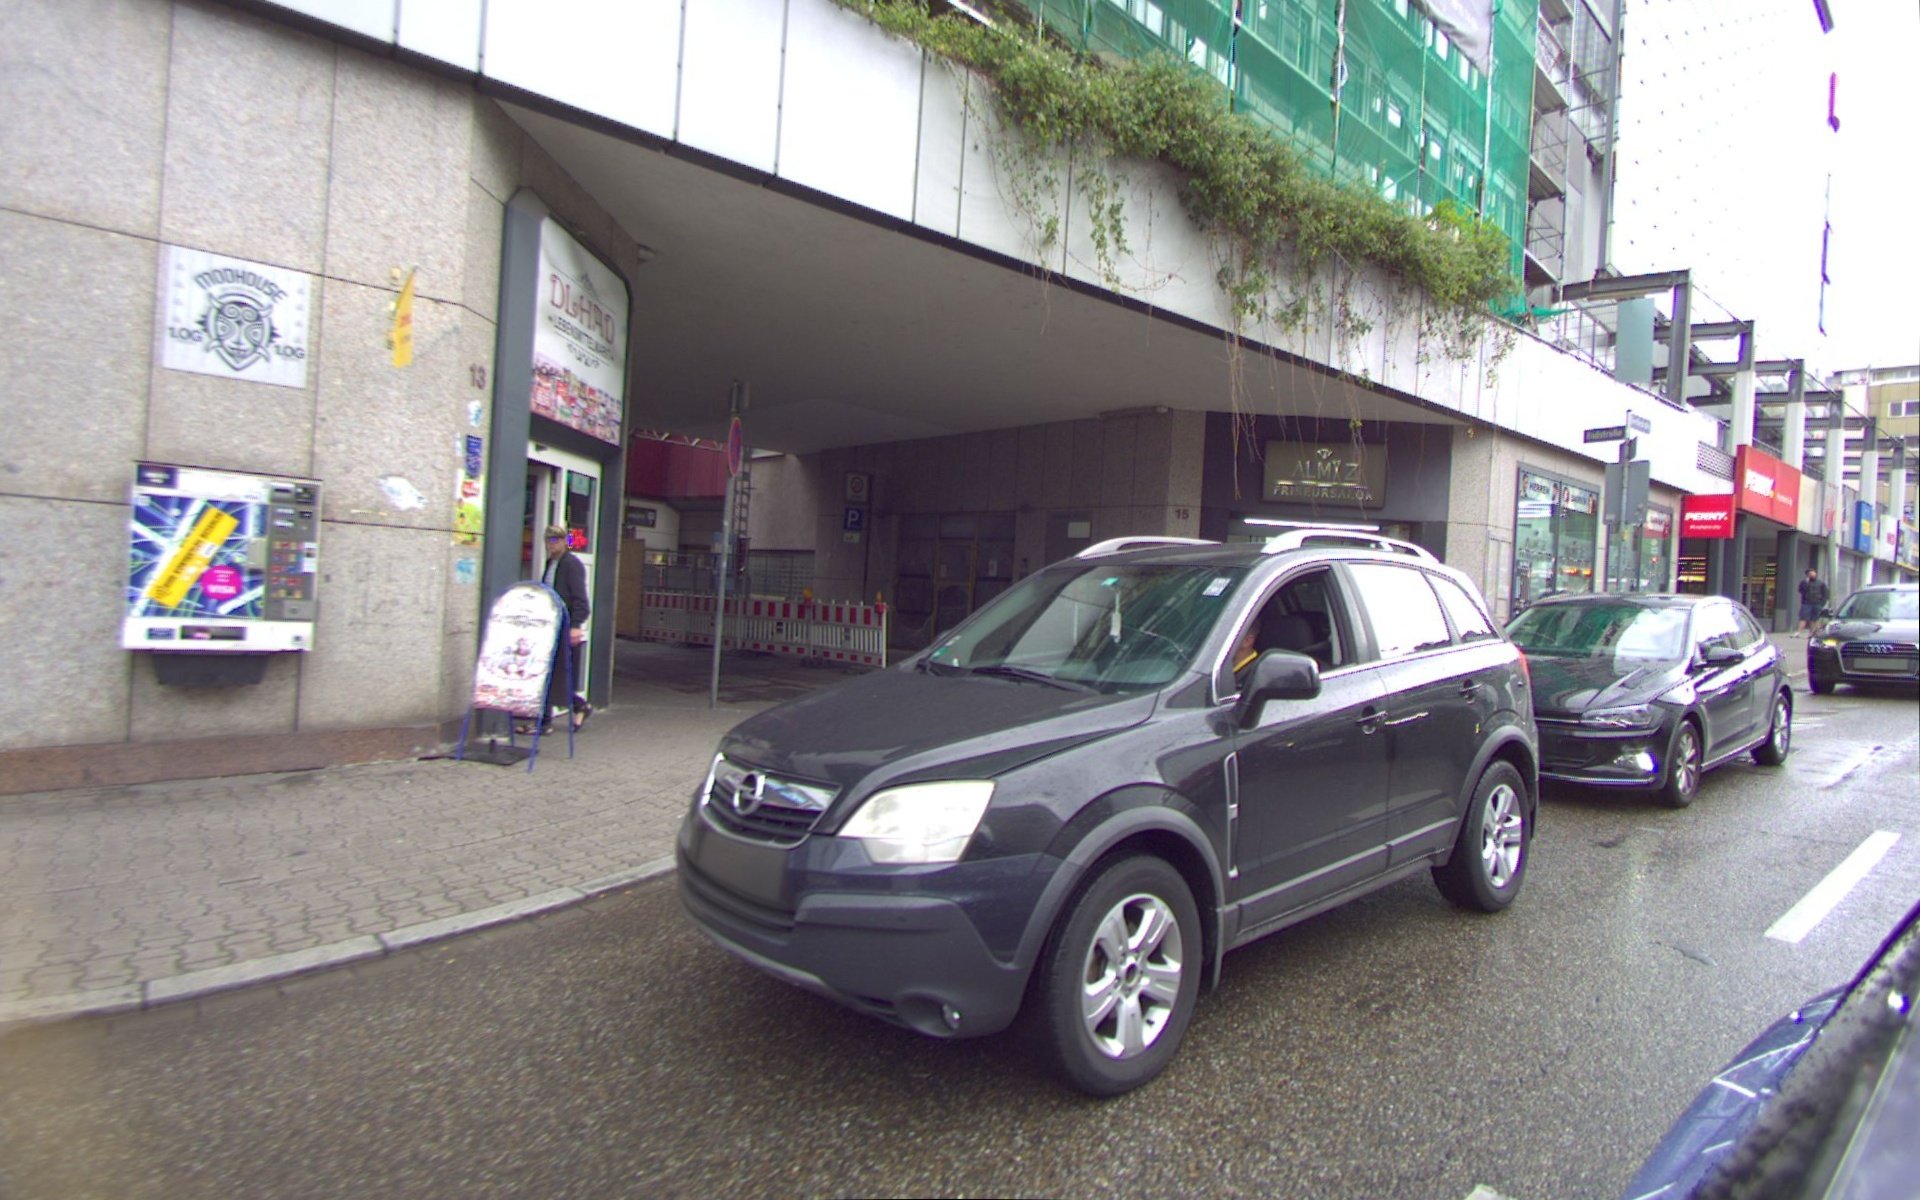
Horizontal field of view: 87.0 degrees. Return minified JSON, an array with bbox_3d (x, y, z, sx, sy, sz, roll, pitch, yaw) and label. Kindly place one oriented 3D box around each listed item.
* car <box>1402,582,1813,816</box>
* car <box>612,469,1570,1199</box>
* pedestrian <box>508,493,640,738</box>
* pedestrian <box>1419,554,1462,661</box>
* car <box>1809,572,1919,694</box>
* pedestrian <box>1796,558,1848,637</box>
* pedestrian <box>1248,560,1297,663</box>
[{"bbox_3d":[5.306,0.585,8.142,3.708,1.448,1.682,-1,1,-38],"label":"car"},{"bbox_3d":[0.887,0.496,4.332,4.174,1.699,1.734,-1,2,-41],"label":"car"},{"bbox_3d":[-3.035,0.103,7.955,0.649,1.800,0.584,7,3,33],"label":"pedestrian"},{"bbox_3d":[7.382,0.105,15.548,0.457,1.616,0.403,-1,2,-42],"label":"pedestrian"},{"bbox_3d":[14.067,0.404,14.778,3.927,1.604,1.777,-1,0,-38],"label":"car"},{"bbox_3d":[21.041,-0.075,24.705,0.630,1.798,0.708,-6,11,-39],"label":"pedestrian"},{"bbox_3d":[4.703,0.160,15.240,0.515,1.506,0.429,0,3,-36],"label":"pedestrian"}]
